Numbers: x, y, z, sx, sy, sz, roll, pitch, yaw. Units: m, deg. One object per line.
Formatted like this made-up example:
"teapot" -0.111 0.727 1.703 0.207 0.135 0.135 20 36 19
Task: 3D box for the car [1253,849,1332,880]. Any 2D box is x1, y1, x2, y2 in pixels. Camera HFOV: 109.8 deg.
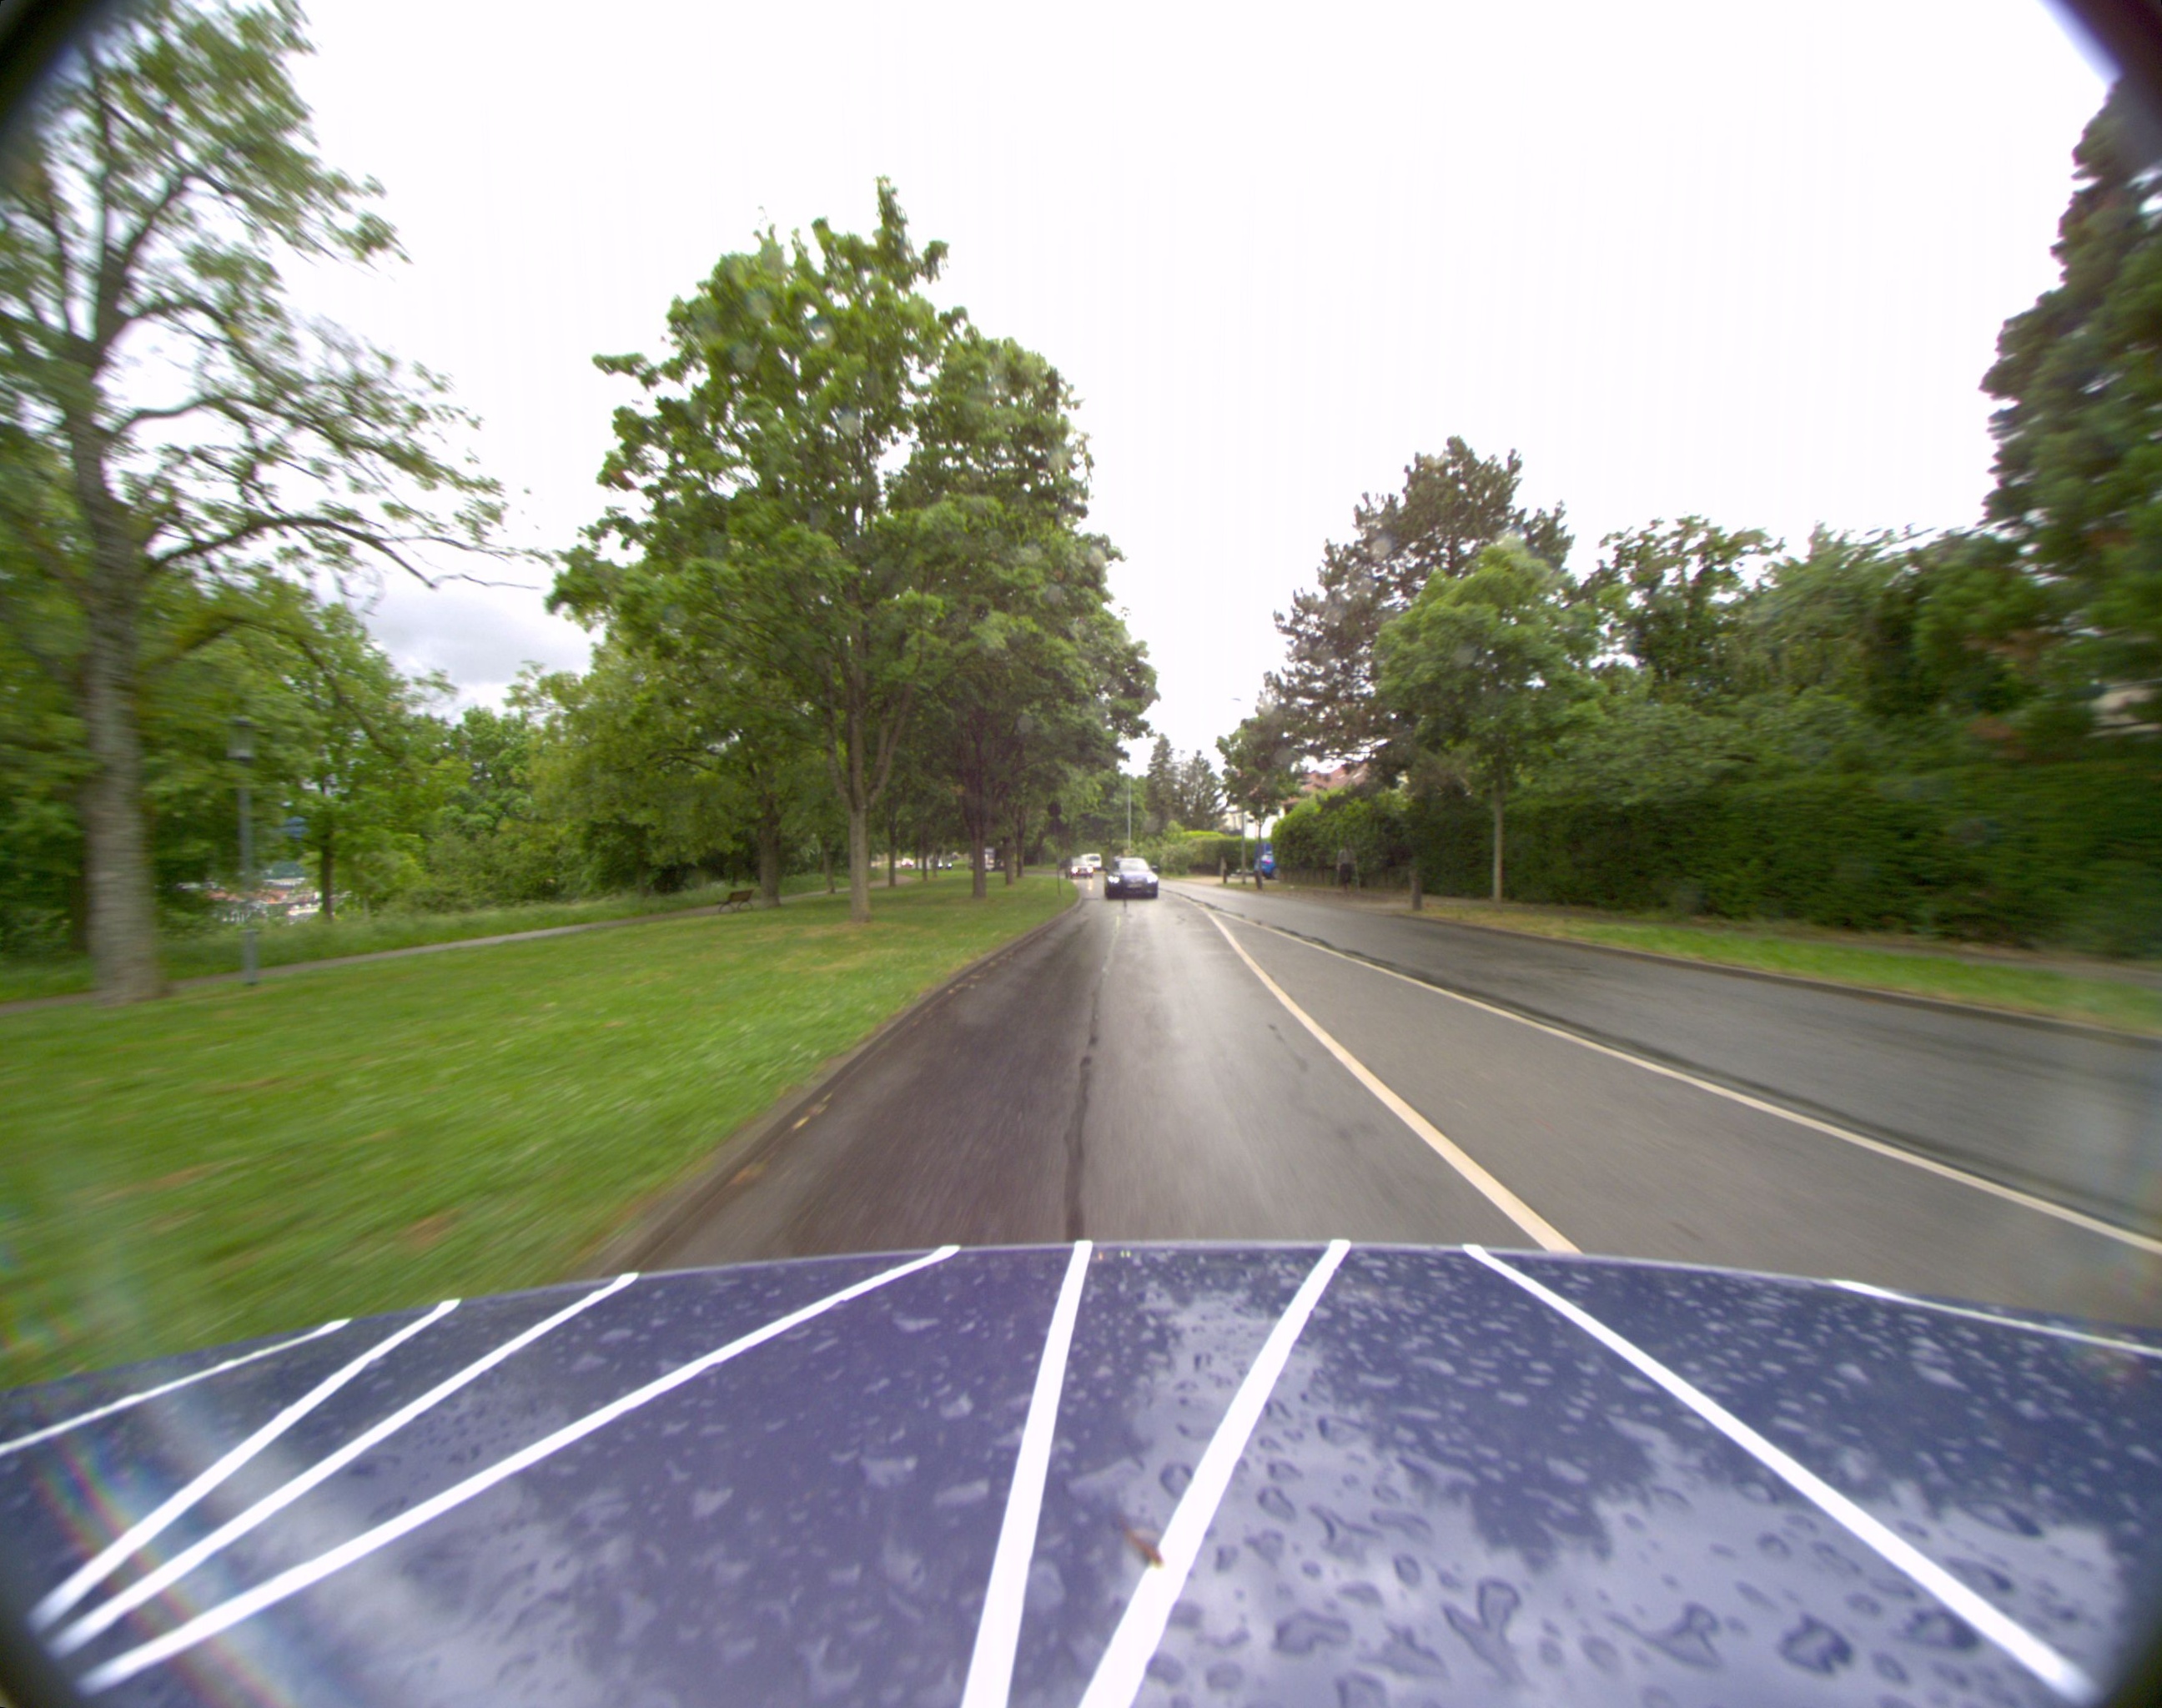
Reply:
"car" 11.921 0.573 42.914 3.862 1.577 1.817 -1 1 -4

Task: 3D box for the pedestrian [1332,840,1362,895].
"pedestrian" 9.017 0.463 25.791 0.712 1.820 0.881 -1 1 4

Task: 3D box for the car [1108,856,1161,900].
"car" 1.986 0.851 28.782 1.839 1.502 4.000 -1 1 3

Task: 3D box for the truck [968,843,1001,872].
"truck" -10.842 0.386 85.123 2.150 3.028 5.158 -2 0 -24

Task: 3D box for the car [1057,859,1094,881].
"car" -0.461 1.192 58.379 2.001 1.606 3.995 -2 0 -12

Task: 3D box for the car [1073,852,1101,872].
"car" 0.579 0.827 80.604 2.001 2.077 3.995 -2 0 -14
